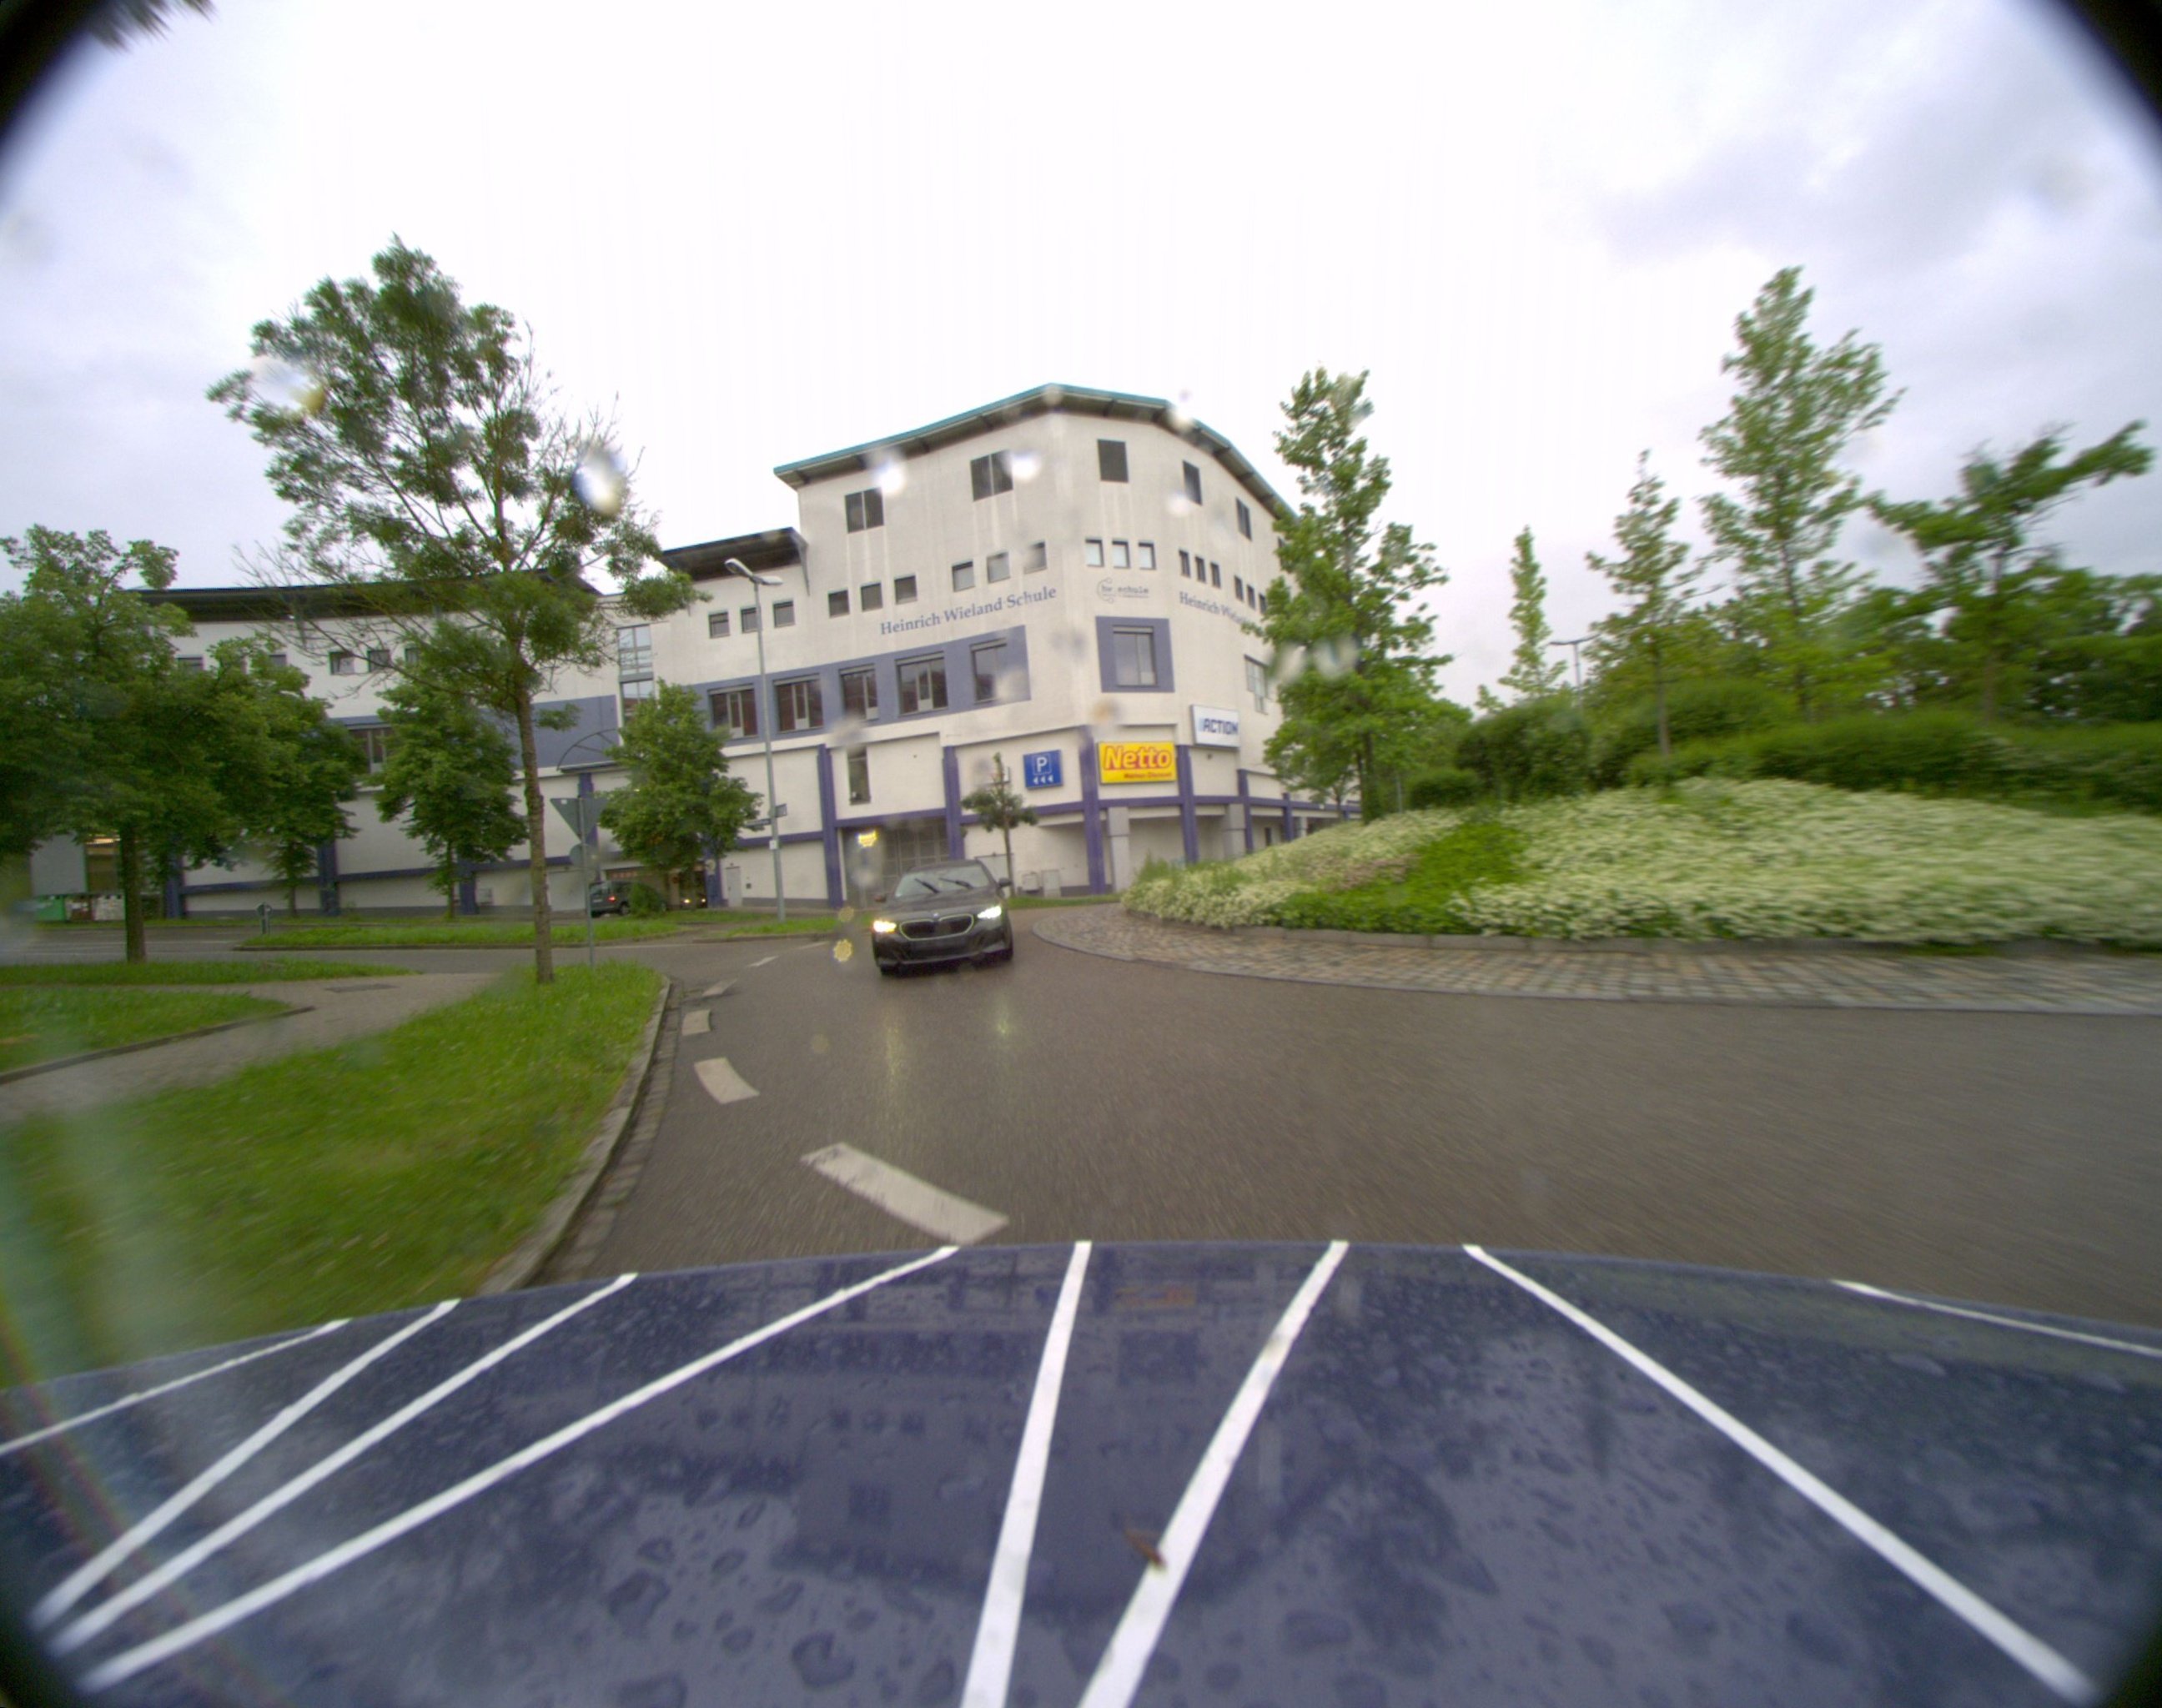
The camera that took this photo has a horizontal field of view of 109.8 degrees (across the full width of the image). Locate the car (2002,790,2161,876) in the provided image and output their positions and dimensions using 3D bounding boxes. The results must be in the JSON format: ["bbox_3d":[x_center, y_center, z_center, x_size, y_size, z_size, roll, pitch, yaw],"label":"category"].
[{"bbox_3d":[23.507,-0.496,16.222,1.997,1.784,5.114,-4,-1,10],"label":"car"}]

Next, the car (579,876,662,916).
[{"bbox_3d":[-22.996,2.070,38.133,1.923,1.790,3.789,-2,-1,-2],"label":"car"}]

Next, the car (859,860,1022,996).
[{"bbox_3d":[-2.240,0.966,11.794,1.845,1.486,4.897,-6,0,-13],"label":"car"}]
